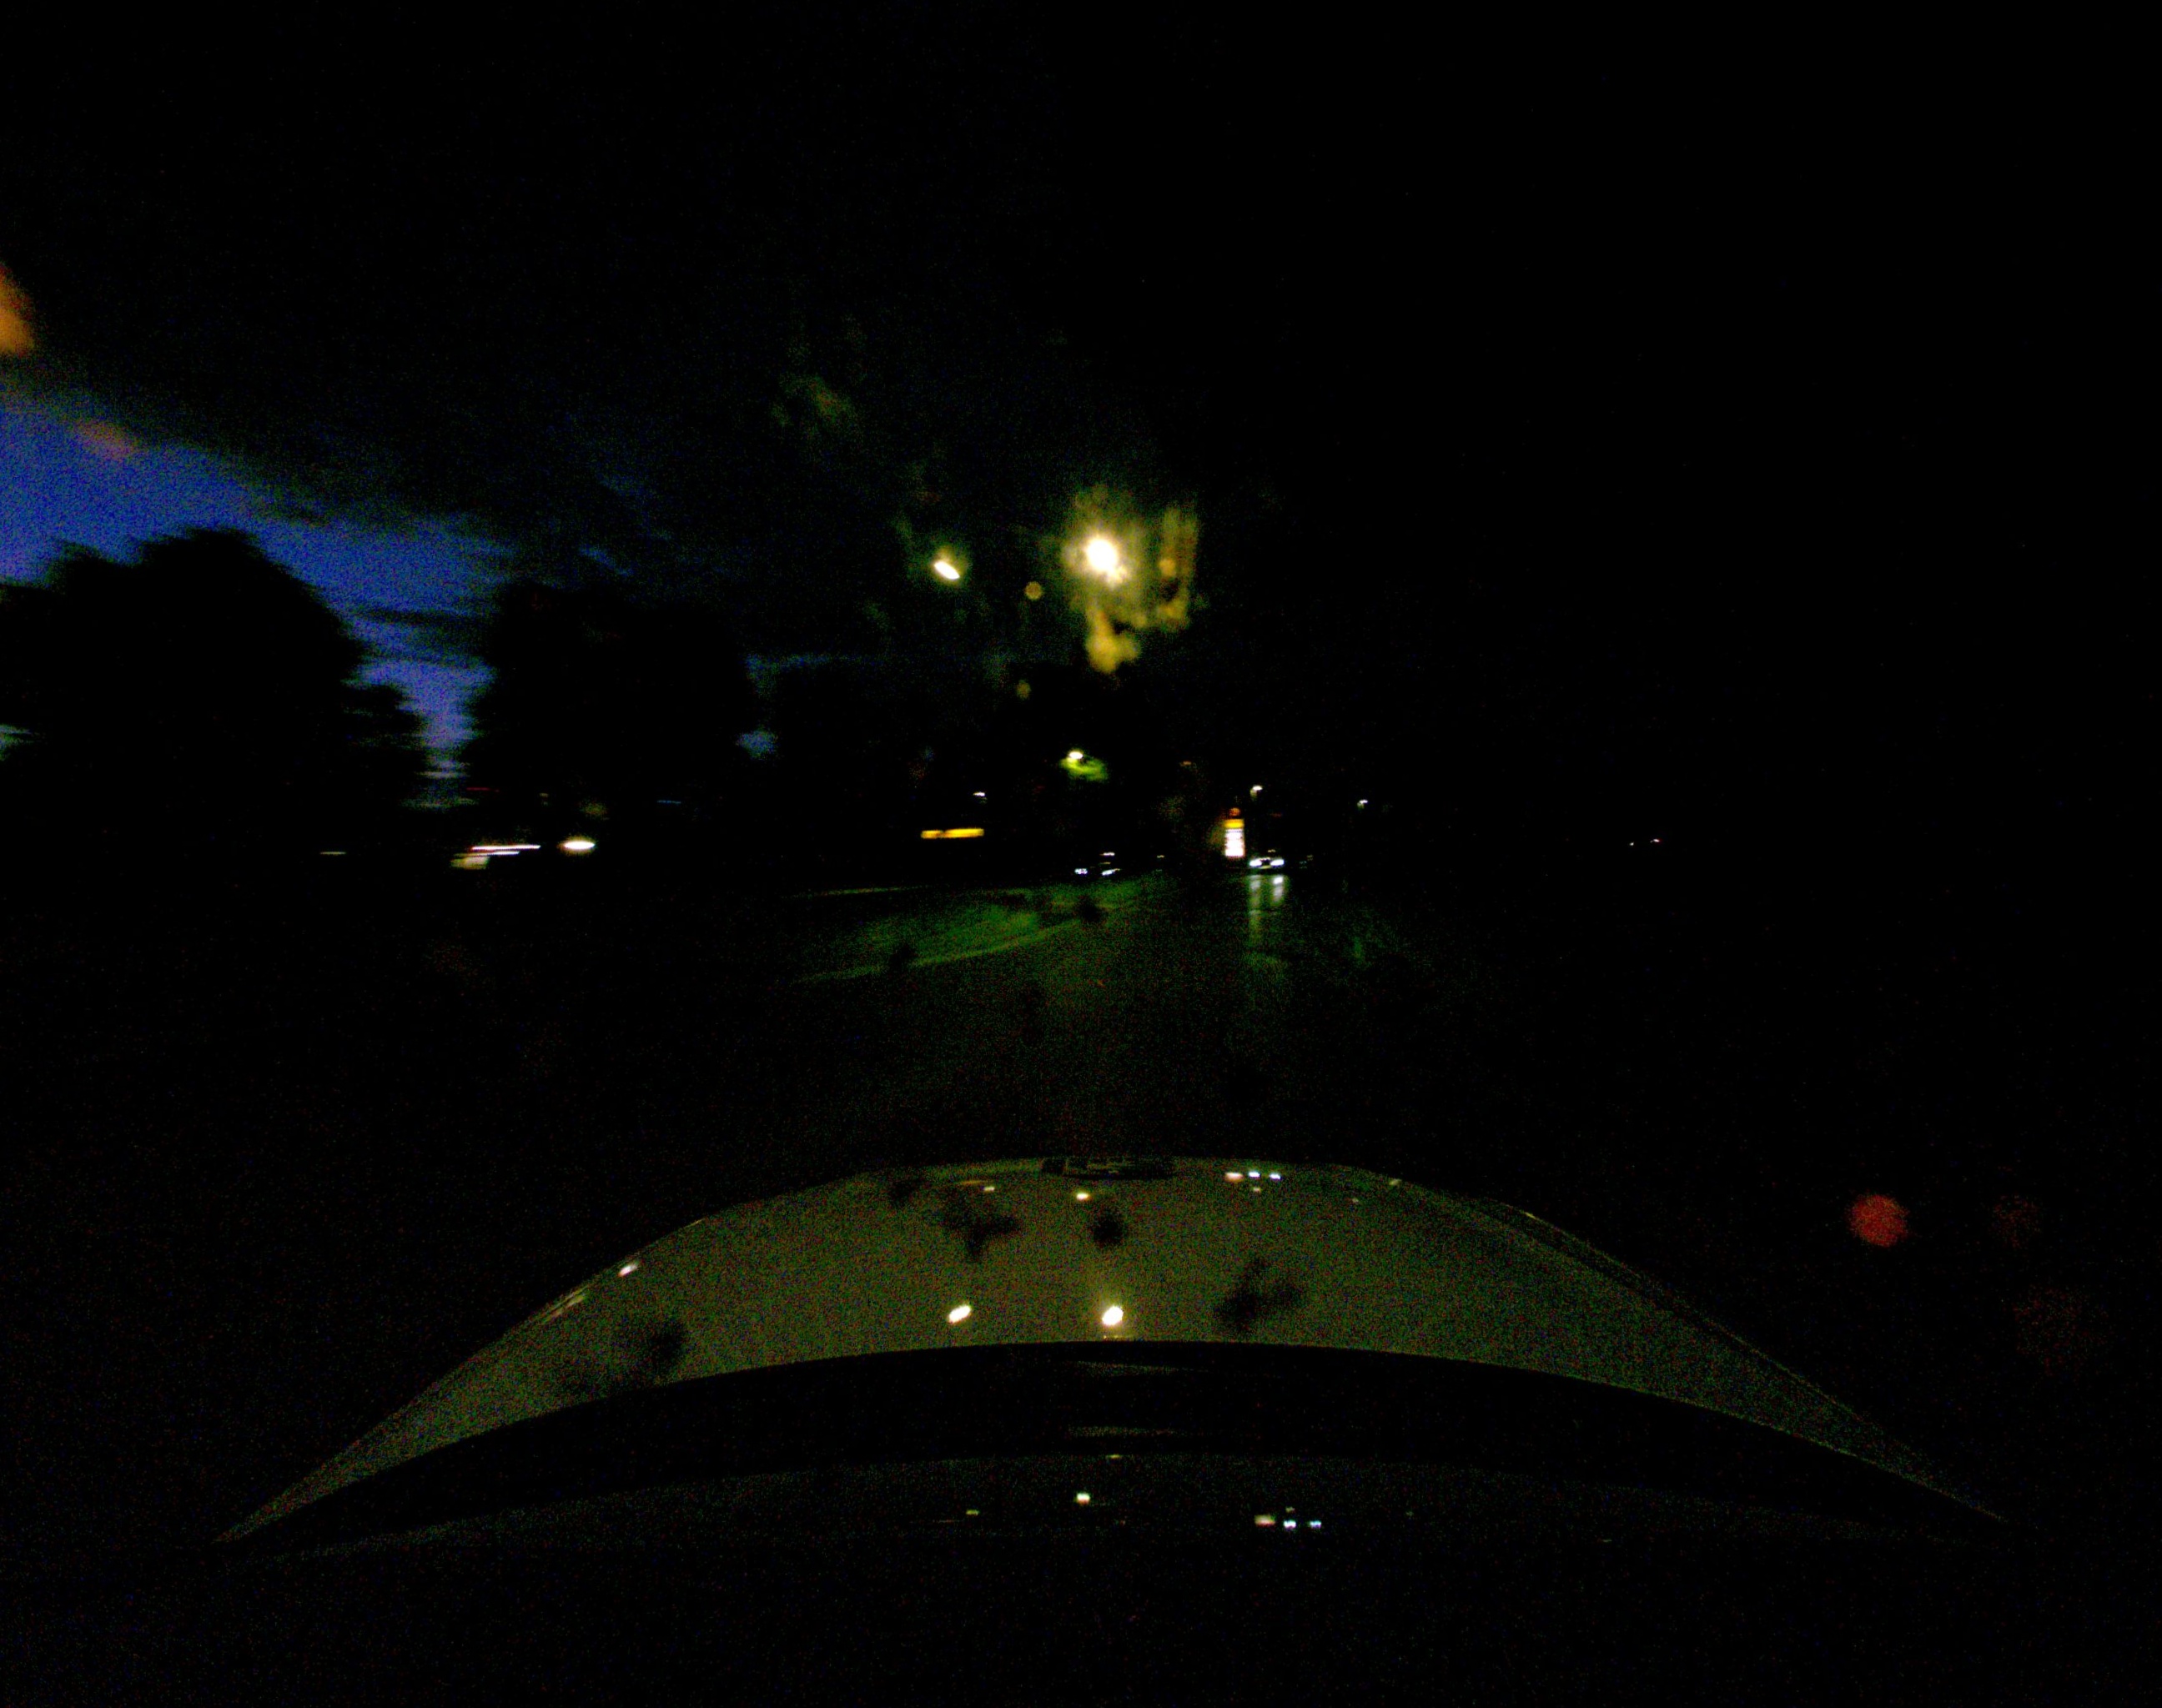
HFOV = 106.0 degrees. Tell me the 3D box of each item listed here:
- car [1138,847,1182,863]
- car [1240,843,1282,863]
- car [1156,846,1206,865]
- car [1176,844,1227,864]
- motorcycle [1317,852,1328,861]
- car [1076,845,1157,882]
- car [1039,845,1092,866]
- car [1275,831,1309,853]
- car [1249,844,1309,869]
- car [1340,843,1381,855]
[{"bbox_3d":[6.224,0.068,63.860,3.228,1.131,1.532,-1,1,-37],"label":"car"},{"bbox_3d":[15.026,-0.105,67.861,1.738,1.607,4.481,0,1,36],"label":"car"},{"bbox_3d":[7.643,0.103,61.965,3.716,1.311,1.532,-1,1,-36],"label":"car"},{"bbox_3d":[8.947,-0.004,60.385,3.716,1.420,1.532,-1,1,-37],"label":"car"},{"bbox_3d":[29.232,0.304,98.364,0.976,1.144,1.860,0,0,26],"label":"motorcycle"},{"bbox_3d":[1.567,0.353,33.905,1.743,1.445,4.554,0,0,26],"label":"car"},{"bbox_3d":[-1.115,0.138,58.718,3.469,1.359,1.506,-3,-2,28],"label":"car"},{"bbox_3d":[21.140,-1.203,81.565,1.974,2.013,4.026,2,3,37],"label":"car"},{"bbox_3d":[12.062,0.113,49.346,1.742,1.403,4.616,0,1,39],"label":"car"},{"bbox_3d":[32.944,-0.581,95.970,4.306,1.359,1.653,-1,0,33],"label":"car"}]
